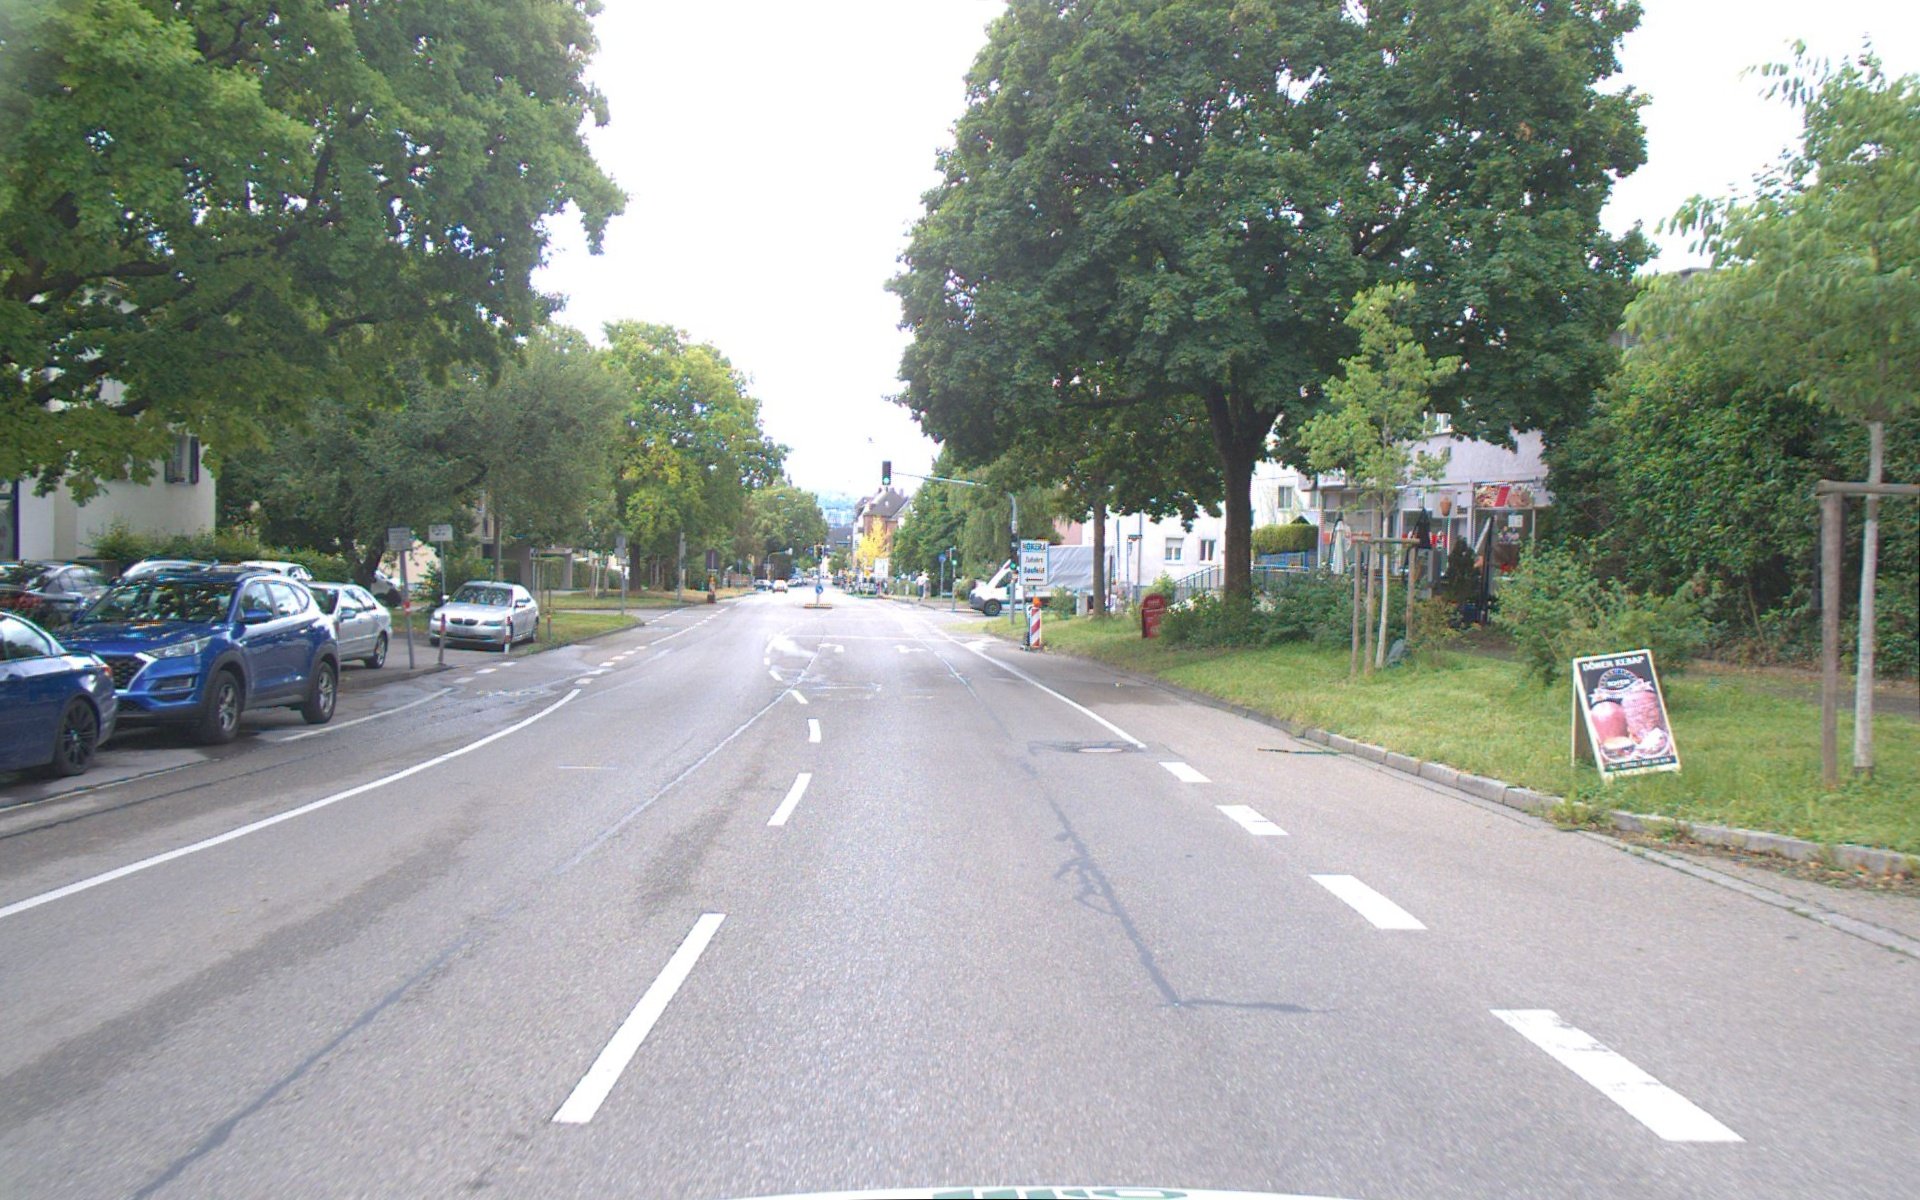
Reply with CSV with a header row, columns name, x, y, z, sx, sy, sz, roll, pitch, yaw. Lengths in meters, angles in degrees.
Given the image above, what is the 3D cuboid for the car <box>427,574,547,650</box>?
name,x,y,z,sx,sy,sz,roll,pitch,yaw
car,-11.326,0.257,39.914,1.726,1.661,4.750,2,0,-3

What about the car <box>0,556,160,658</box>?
name,x,y,z,sx,sy,sz,roll,pitch,yaw
car,-15.224,0.066,27.583,1.727,1.496,4.438,4,0,-3

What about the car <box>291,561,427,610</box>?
name,x,y,z,sx,sy,sz,roll,pitch,yaw
car,-24.837,-0.606,68.484,4.897,1.845,1.997,2,0,-7

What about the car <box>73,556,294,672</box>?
name,x,y,z,sx,sy,sz,roll,pitch,yaw
car,-12.688,0.204,27.315,1.726,1.661,3.999,4,0,-1

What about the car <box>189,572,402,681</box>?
name,x,y,z,sx,sy,sz,roll,pitch,yaw
car,-10.664,0.380,26.908,1.726,1.562,4.391,2,0,-1

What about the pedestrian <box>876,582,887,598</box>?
name,x,y,z,sx,sy,sz,roll,pitch,yaw
pedestrian,-9.219,-1.201,193.545,1.176,1.841,1.300,2,0,-4

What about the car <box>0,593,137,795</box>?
name,x,y,z,sx,sy,sz,roll,pitch,yaw
car,-7.639,0.665,11.603,1.681,1.413,4.336,1,0,-2

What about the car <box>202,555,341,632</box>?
name,x,y,z,sx,sy,sz,roll,pitch,yaw
car,-16.282,-0.159,39.328,1.727,1.661,4.285,2,0,-4

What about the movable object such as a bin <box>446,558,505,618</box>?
name,x,y,z,sx,sy,sz,roll,pitch,yaw
movable object such as a bin,-16.323,-0.407,55.814,1.193,1.937,3.023,2,0,-4

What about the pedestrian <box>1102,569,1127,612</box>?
name,x,y,z,sx,sy,sz,roll,pitch,yaw
pedestrian,6.879,-0.435,73.737,0.736,1.887,0.950,-2,1,-19

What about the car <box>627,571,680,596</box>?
name,x,y,z,sx,sy,sz,roll,pitch,yaw
car,-21.212,-1.150,114.596,3.383,1.624,1.997,2,0,-7

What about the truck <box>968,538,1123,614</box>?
name,x,y,z,sx,sy,sz,roll,pitch,yaw
truck,4.005,-1.112,78.479,7.082,3.364,2.539,1,0,-3

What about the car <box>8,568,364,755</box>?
name,x,y,z,sx,sy,sz,roll,pitch,yaw
car,-7.818,0.538,17.232,1.681,1.641,4.533,2,0,-2

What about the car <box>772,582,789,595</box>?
name,x,y,z,sx,sy,sz,roll,pitch,yaw
car,-21.588,-1.411,199.192,1.955,1.532,3.995,2,0,-6
